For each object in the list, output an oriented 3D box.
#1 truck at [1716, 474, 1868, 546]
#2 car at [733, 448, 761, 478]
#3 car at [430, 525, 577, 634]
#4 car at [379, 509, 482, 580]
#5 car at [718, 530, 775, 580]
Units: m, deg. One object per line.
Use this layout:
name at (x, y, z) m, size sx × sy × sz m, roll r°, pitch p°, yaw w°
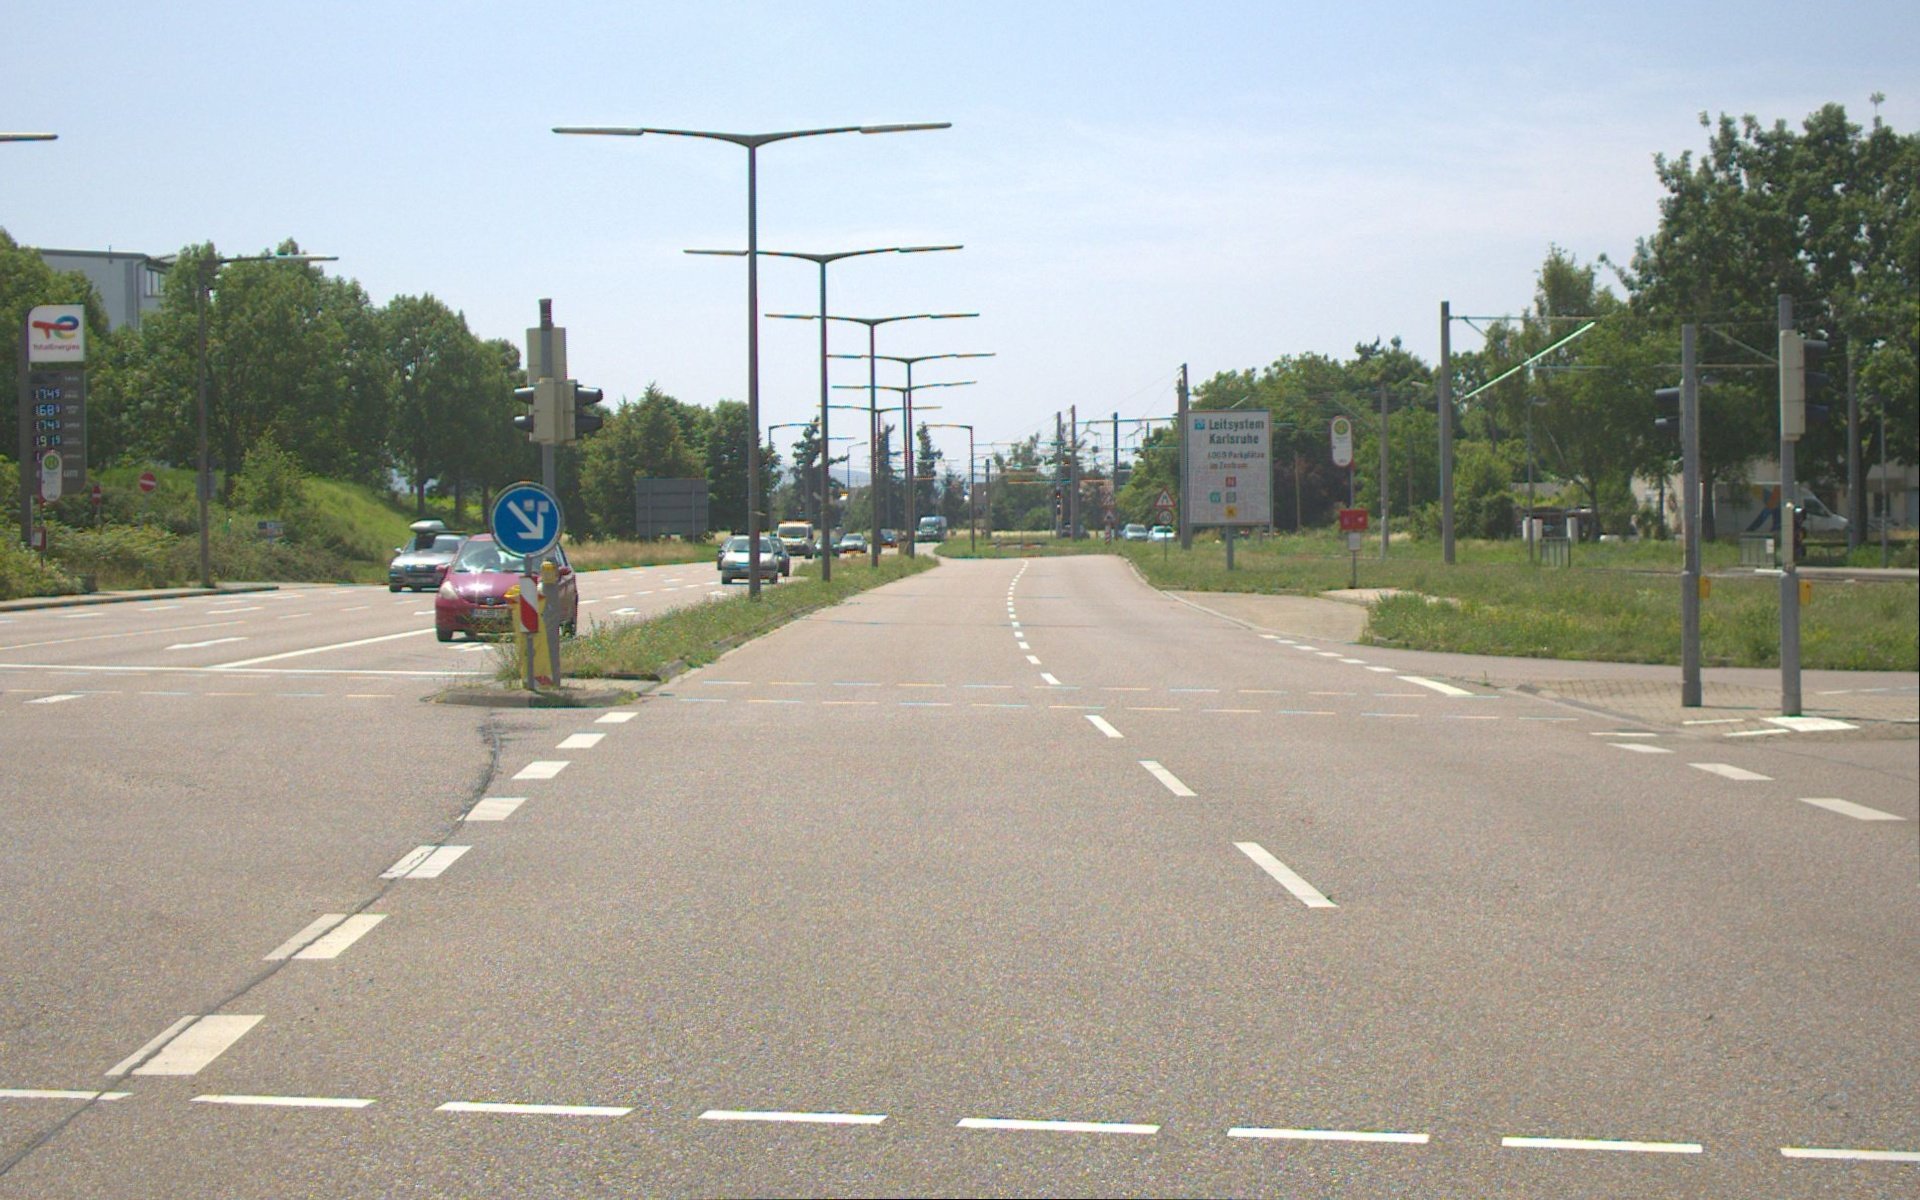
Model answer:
truck at (35.799, -3.867, 147.941) m, size 5.839 × 2.833 × 2.321 m, roll -2°, pitch 1°, yaw -7°
car at (-15.494, -9.940, 249.466) m, size 1.993 × 2.007 × 4.001 m, roll 1°, pitch 0°, yaw -4°
car at (-6.500, -0.332, 49.291) m, size 1.658 × 1.485 × 4.001 m, roll 0°, pitch 1°, yaw -1°
car at (-13.463, -1.442, 87.638) m, size 1.964 × 1.744 × 5.023 m, roll 0°, pitch 1°, yaw -1°
car at (-6.405, -1.375, 103.420) m, size 1.560 × 1.418 × 3.854 m, roll 0°, pitch 2°, yaw -1°
